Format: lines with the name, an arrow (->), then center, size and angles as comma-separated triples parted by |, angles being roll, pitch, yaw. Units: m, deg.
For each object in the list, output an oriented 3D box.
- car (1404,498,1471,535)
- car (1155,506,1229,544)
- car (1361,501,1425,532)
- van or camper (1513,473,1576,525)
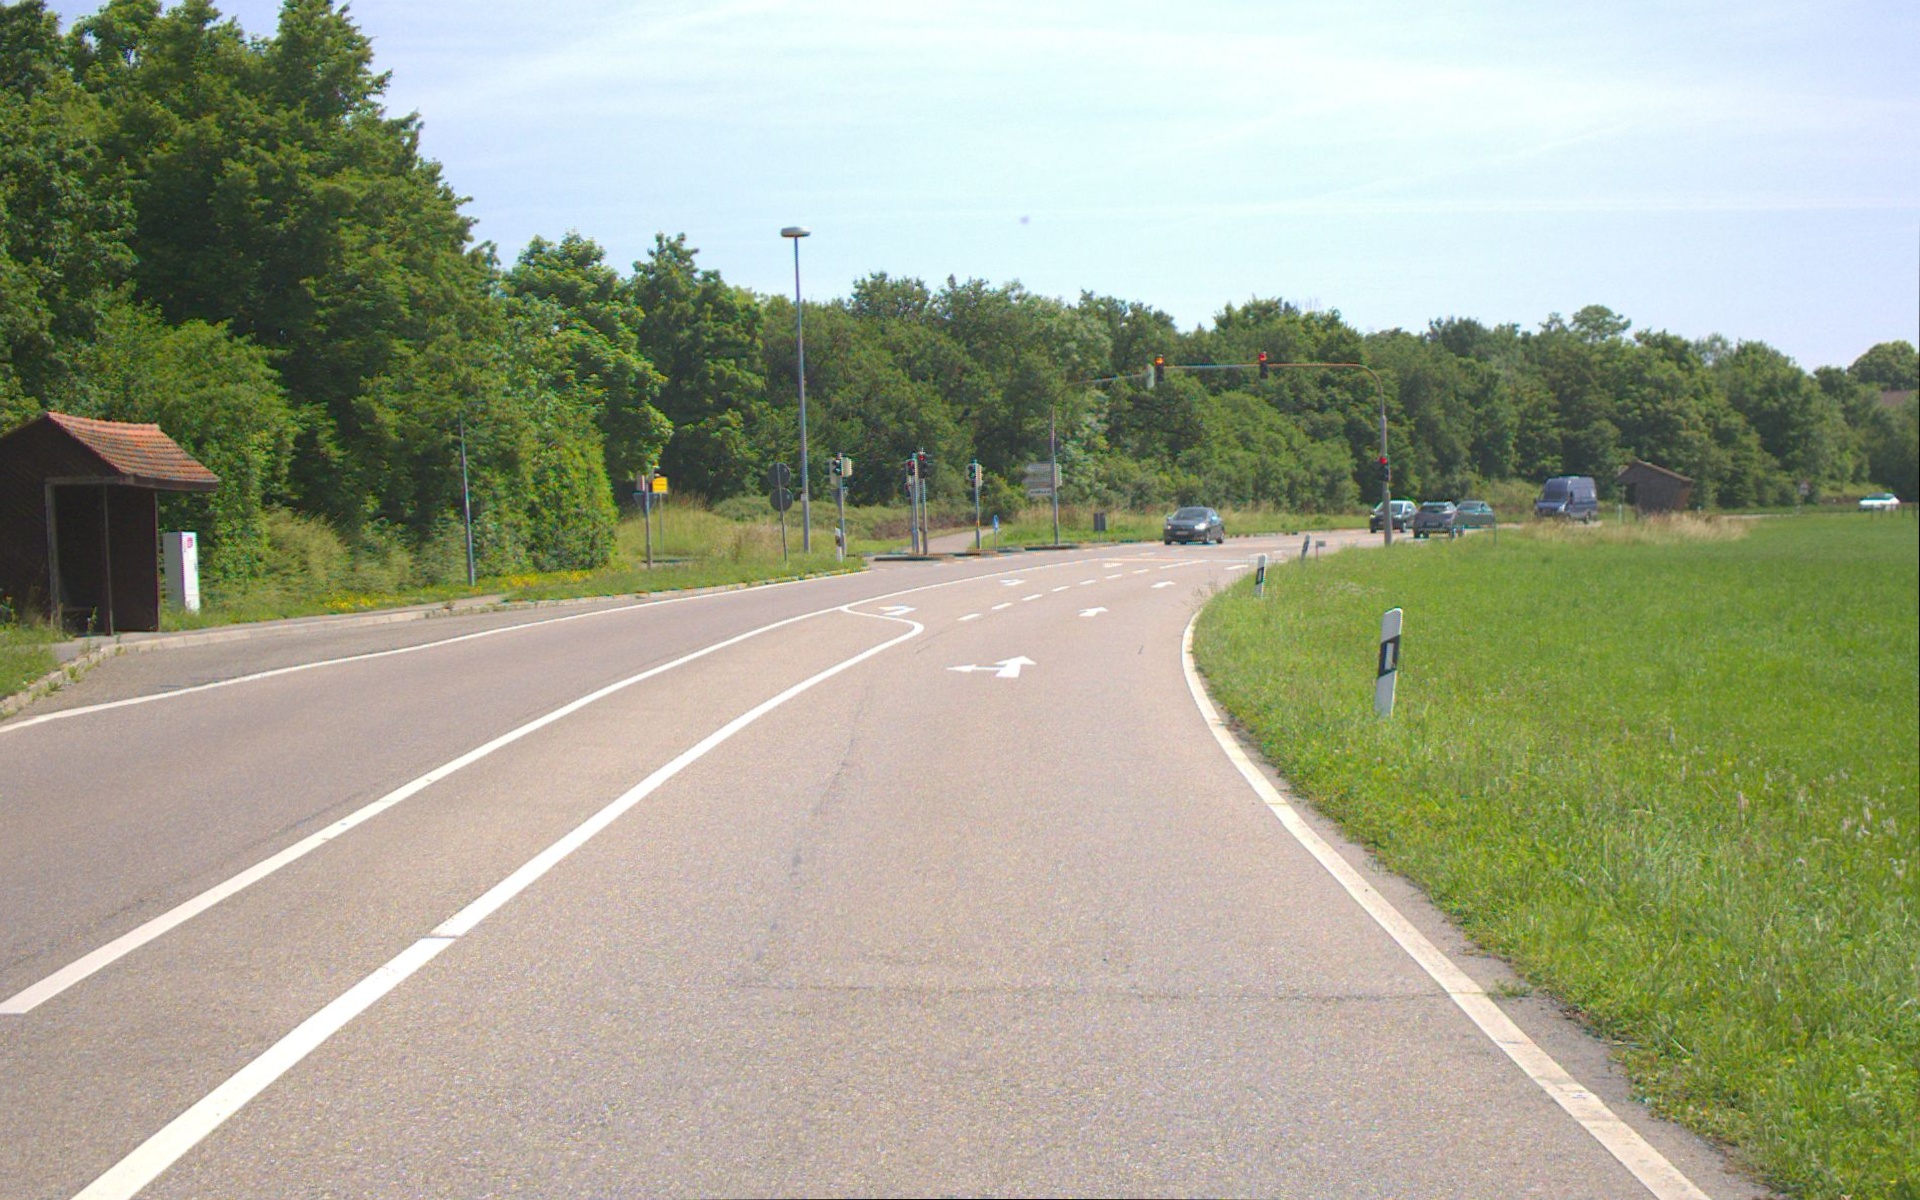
car -> 21.001, -3.660, 151.028 | 1.996, 1.568, 3.996 | 0, 1, 22
car -> 9.271, -2.996, 137.134 | 1.793, 1.469, 4.306 | 0, 1, 20
car -> 21.620, -4.150, 171.447 | 1.977, 1.557, 4.183 | 0, 1, 25
van or camper -> 35.078, -6.059, 206.095 | 2.242, 2.903, 7.240 | 0, 3, 22
